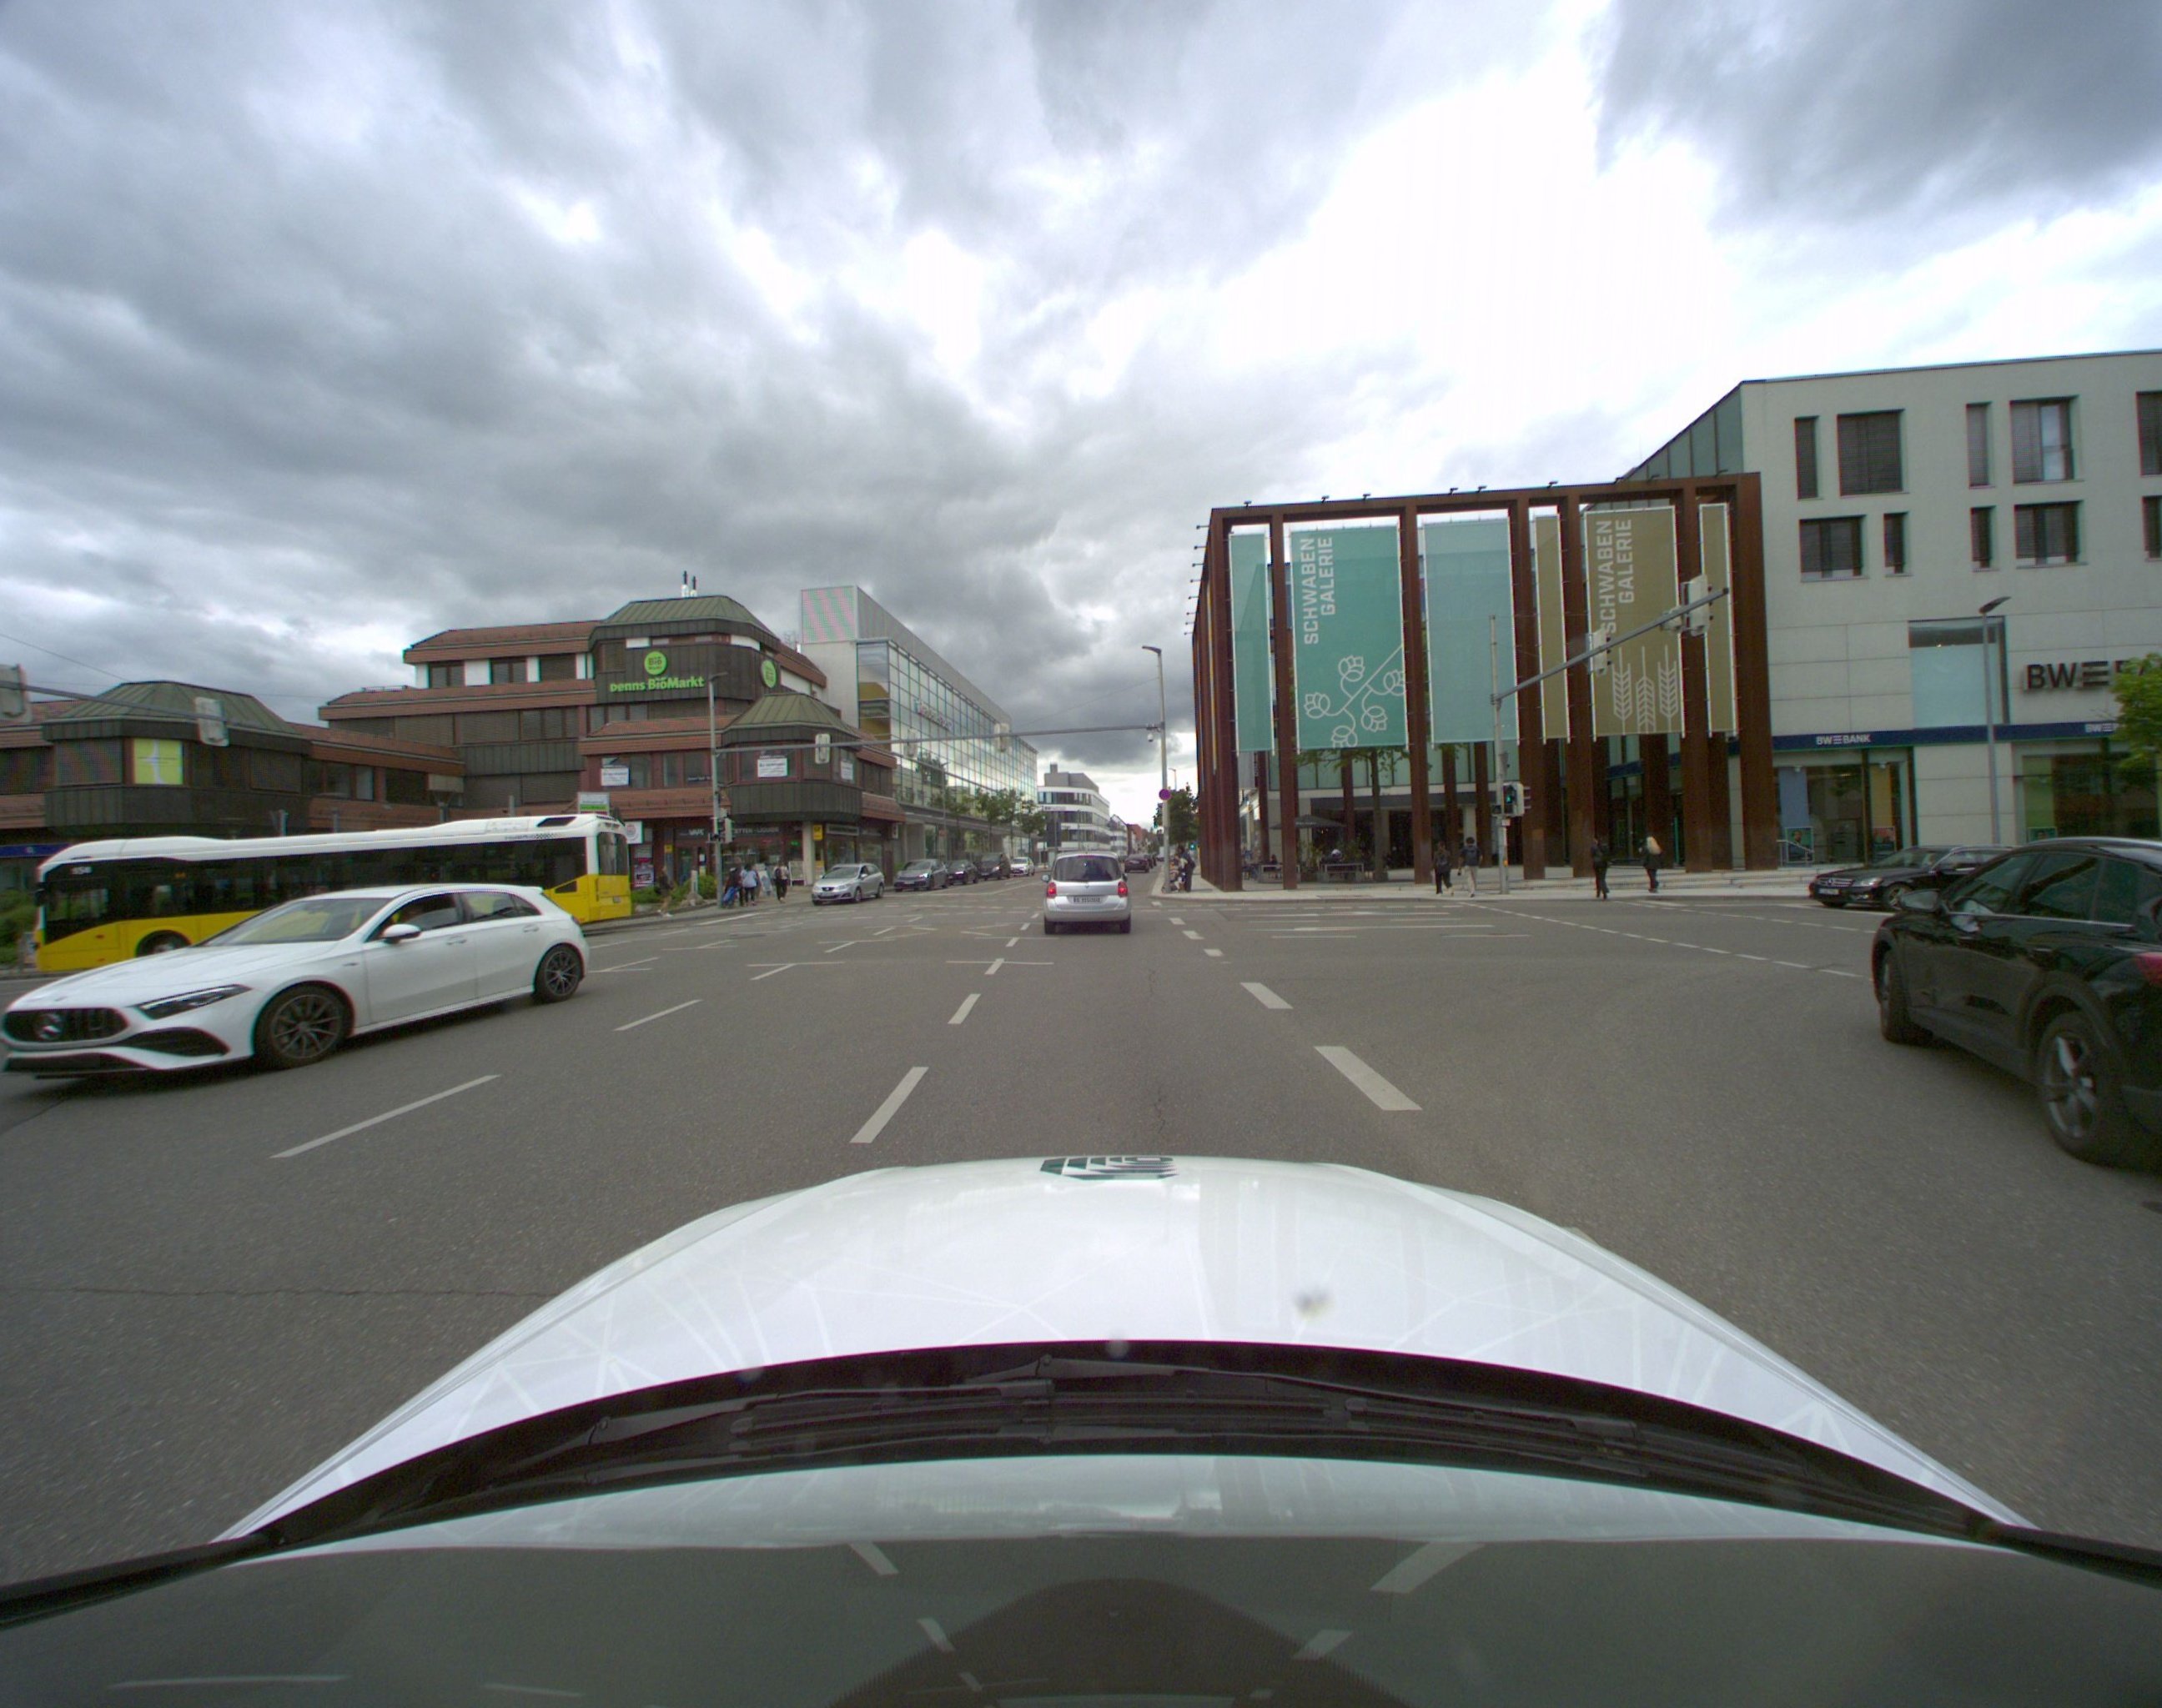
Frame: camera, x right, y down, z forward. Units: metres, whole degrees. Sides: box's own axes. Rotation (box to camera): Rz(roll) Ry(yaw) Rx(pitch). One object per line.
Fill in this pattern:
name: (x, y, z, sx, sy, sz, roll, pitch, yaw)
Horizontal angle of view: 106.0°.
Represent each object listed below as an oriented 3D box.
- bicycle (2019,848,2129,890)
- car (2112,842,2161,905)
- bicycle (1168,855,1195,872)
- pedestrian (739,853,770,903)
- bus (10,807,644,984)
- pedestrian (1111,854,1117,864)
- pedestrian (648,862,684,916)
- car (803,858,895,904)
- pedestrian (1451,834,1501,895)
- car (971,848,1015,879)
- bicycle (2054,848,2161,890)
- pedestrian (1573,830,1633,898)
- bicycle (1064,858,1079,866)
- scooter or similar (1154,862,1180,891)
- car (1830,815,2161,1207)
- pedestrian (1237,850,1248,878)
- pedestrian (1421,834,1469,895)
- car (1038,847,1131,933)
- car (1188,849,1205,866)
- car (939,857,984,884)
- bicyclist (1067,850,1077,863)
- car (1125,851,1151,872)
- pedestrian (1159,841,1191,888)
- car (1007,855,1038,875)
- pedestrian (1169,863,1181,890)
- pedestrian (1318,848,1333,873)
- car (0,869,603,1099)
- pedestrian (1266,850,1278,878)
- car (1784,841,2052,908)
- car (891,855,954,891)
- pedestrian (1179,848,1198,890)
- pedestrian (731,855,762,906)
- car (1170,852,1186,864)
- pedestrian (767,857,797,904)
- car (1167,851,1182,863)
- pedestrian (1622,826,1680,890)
bicycle: (27.630, 0.387, 22.719, 0.715, 1.102, 1.995, -2, 0, 6)
car: (26.641, 0.412, 18.288, 4.515, 1.404, 1.802, -1, 0, 3)
bicycle: (6.236, 0.602, 50.529, 1.551, 0.992, 0.754, -2, 0, 9)
pedestrian: (-12.277, 0.888, 30.623, 0.808, 1.808, 0.774, -1, 0, -2)
bus: (-18.828, 0.905, 21.496, 12.276, 3.327, 2.985, -4, 0, -12)
pedestrian: (6.037, 0.893, 148.375, 0.955, 1.833, 1.253, -2, 0, 6)
pedestrian: (-13.643, 1.138, 26.795, 0.697, 1.713, 0.813, -2, 1, 2)
car: (-8.696, 0.970, 30.949, 1.625, 1.418, 4.210, -4, 1, 9)
pedestrian: (11.283, 0.285, 23.279, 0.875, 1.681, 1.121, -2, 0, 3)
car: (-6.015, 0.609, 56.115, 1.856, 1.909, 5.123, -3, 0, 7)
bicycle: (28.617, 0.387, 22.700, 0.715, 1.102, 1.995, -2, 0, 6)
pedestrian: (14.108, 0.255, 22.046, 0.875, 1.767, 1.121, -2, 0, 3)
bicycle: (-1.319, 1.052, 110.904, 1.009, 1.018, 3.108, 1, 0, -20)
scooter or similar: (3.027, 0.792, 28.646, 0.627, 0.961, 0.624, -2, 0, 39)
car: (6.426, 0.627, 4.990, 1.833, 1.609, 4.892, 0, 0, 32)
pedestrian: (7.297, 0.439, 36.872, 0.445, 1.220, 0.608, -2, 0, 9)
pedestrian: (10.397, 0.287, 23.318, 0.875, 1.681, 1.121, -2, 0, 3)
car: (0.178, 0.653, 16.652, 1.662, 1.554, 3.646, 0, 0, 4)
car: (12.355, 0.343, 87.367, 1.731, 1.701, 4.388, 0, 0, 6)
car: (-6.897, 0.907, 47.222, 1.694, 1.443, 4.004, -2, 0, 4)
bicyclist: (-1.236, 0.356, 110.700, 1.009, 1.660, 0.926, 1, -1, -21)
car: (4.367, 0.515, 61.956, 1.660, 1.554, 3.651, 0, 0, 8)
pedestrian: (3.369, 0.373, 29.207, 0.861, 1.646, 0.684, -1, 0, 40)
car: (-4.592, 0.852, 64.109, 1.651, 1.465, 4.007, -3, 0, 6)
pedestrian: (3.261, 0.768, 28.222, 0.359, 0.924, 0.455, -2, 0, 8)
pedestrian: (12.172, 0.312, 40.599, 0.513, 1.208, 0.796, -2, 1, 4)
car: (-6.899, 0.970, 7.858, 1.736, 1.459, 4.241, -3, 0, 5)
pedestrian: (8.602, 0.440, 36.671, 0.445, 1.220, 0.608, -2, 0, 10)
car: (18.939, 0.439, 18.580, 4.155, 1.404, 1.802, -1, 0, 3)
car: (-7.728, 0.906, 40.130, 1.750, 1.517, 4.394, -3, 0, 6)
pedestrian: (3.721, 0.510, 28.136, 0.598, 1.420, 0.584, -2, 0, 8)
pedestrian: (-12.226, 0.955, 29.796, 0.808, 1.808, 0.745, -1, 0, -2)
car: (11.275, 0.438, 94.609, 1.867, 1.335, 4.007, 0, 0, 6)
pedestrian: (-11.190, 0.975, 30.491, 0.746, 1.693, 0.778, -2, 0, 1)
car: (11.590, 0.353, 101.078, 1.867, 1.508, 4.007, 0, 0, 6)
pedestrian: (16.425, 0.118, 23.496, 0.875, 1.767, 1.121, -2, 0, 3)
